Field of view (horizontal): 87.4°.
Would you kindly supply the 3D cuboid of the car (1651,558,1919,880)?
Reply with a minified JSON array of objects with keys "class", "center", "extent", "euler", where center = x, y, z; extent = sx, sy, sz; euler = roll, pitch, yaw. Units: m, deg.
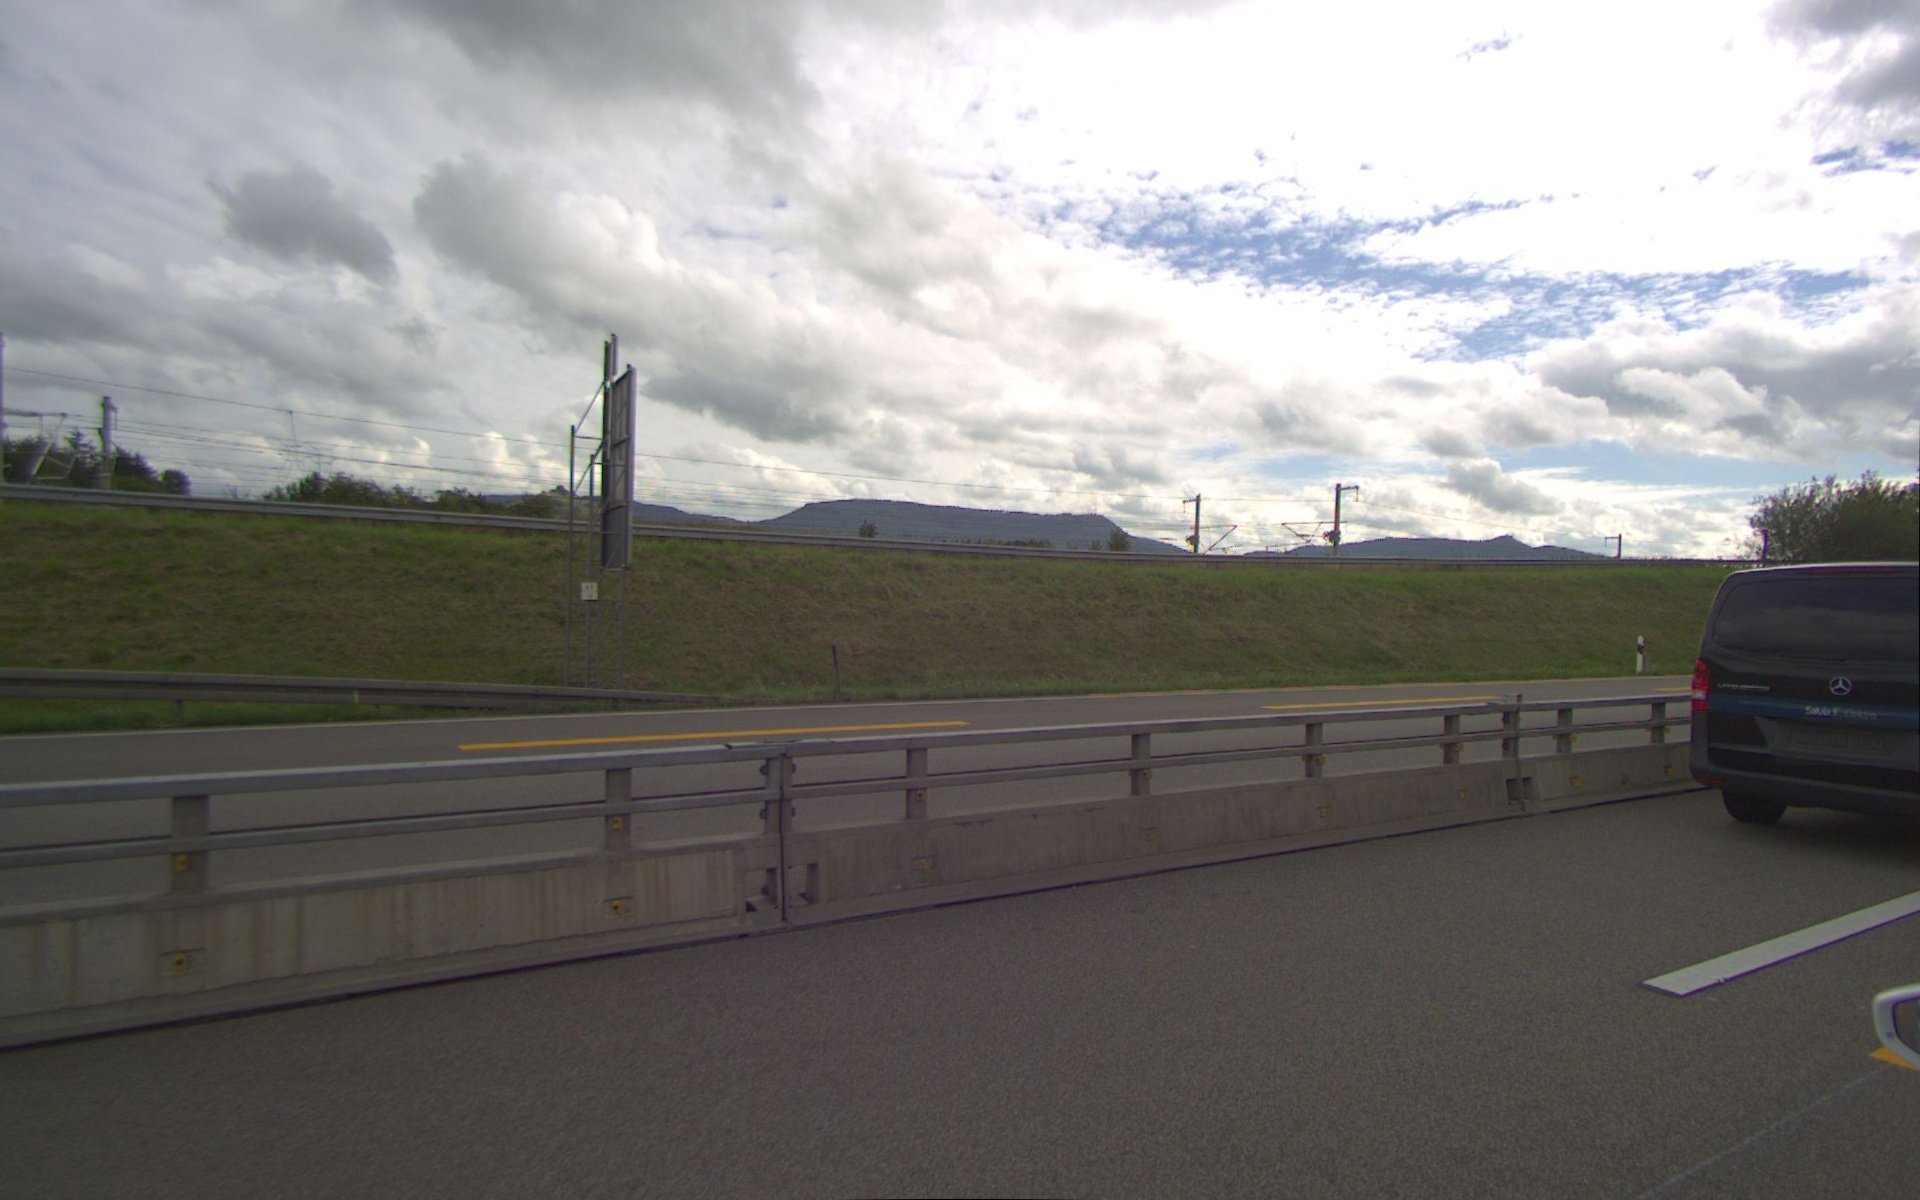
[{"class":"car","center":[7.747,0.756,7.600],"extent":[5.543,1.867,1.984],"euler":[1,-1,-30]}]
